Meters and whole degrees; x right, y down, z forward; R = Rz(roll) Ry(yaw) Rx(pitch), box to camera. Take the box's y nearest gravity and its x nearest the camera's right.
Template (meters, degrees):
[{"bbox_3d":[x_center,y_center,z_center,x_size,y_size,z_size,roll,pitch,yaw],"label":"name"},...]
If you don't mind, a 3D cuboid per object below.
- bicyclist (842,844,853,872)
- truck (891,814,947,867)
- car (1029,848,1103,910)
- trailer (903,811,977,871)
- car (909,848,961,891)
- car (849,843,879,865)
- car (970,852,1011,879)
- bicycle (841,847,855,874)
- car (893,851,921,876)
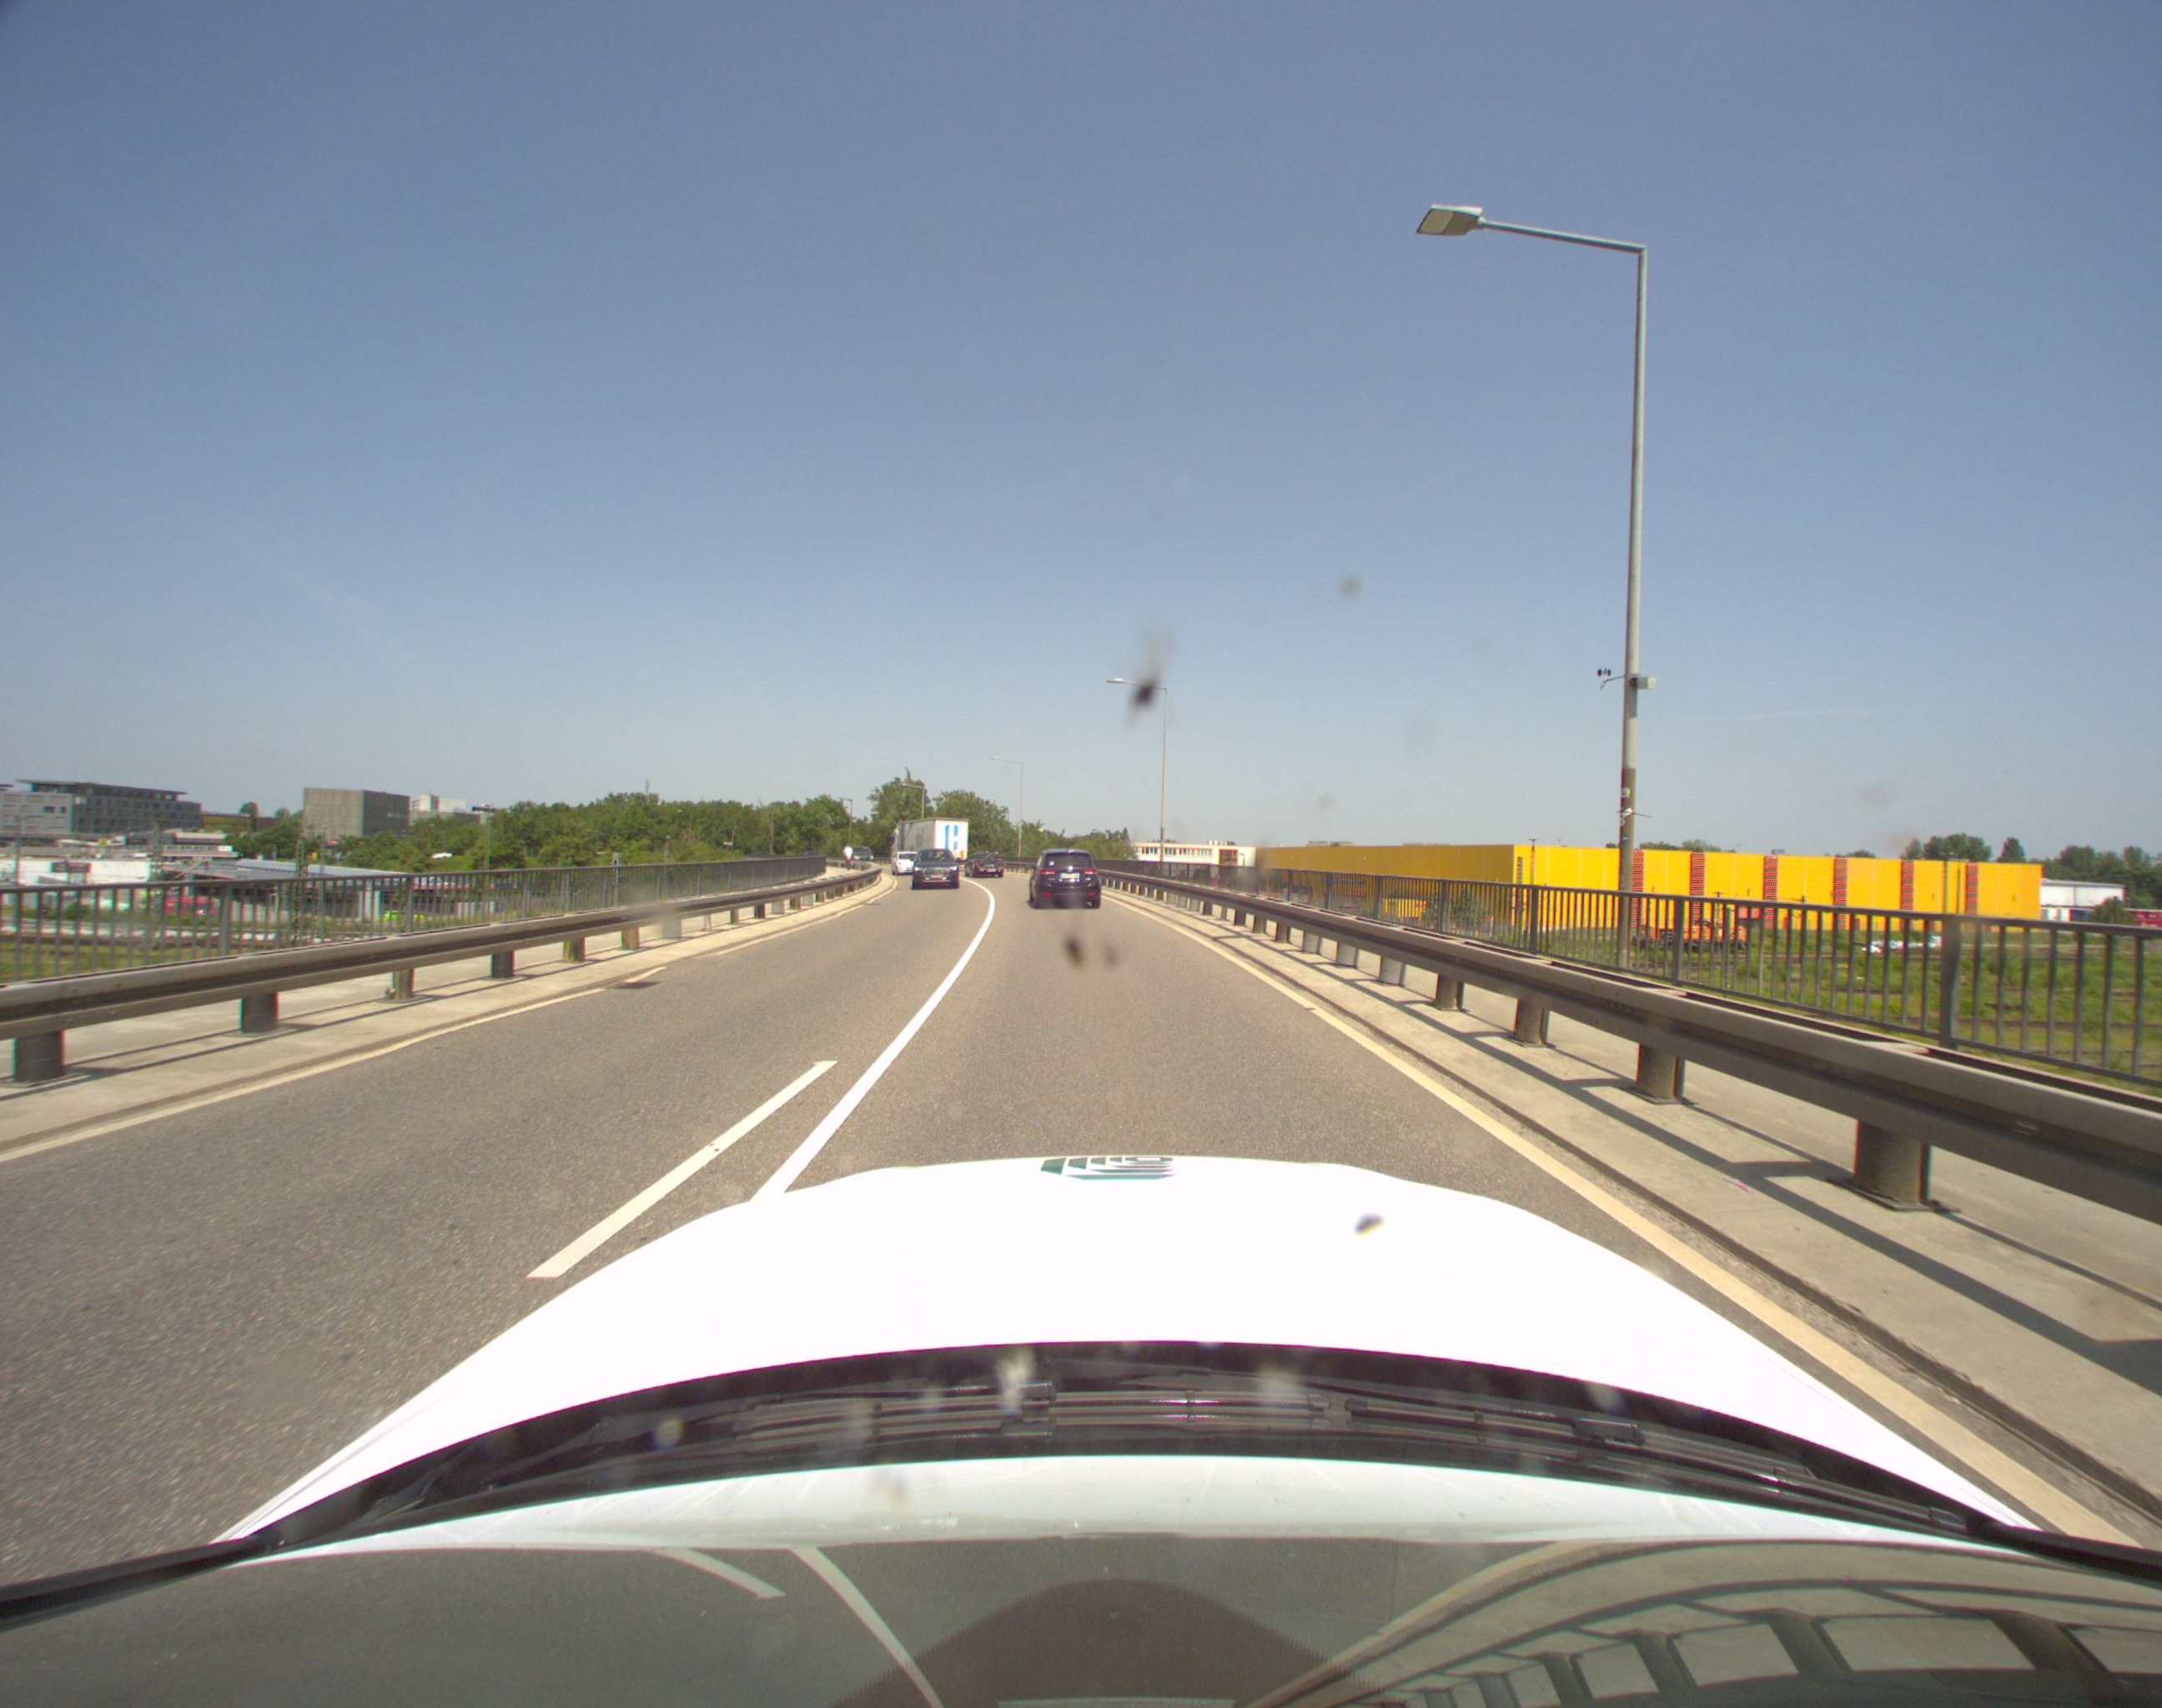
[{"bbox_3d":[-15.974,0.257,55.652,0.626,1.886,0.707,0,0,-22],"label":"bicyclist"},{"bbox_3d":[-14.592,-1.206,72.875,3.589,4.440,6.464,0,1,-24],"label":"truck"},{"bbox_3d":[-0.508,0.637,23.036,1.917,1.574,3.886,0,1,-4],"label":"car"},{"bbox_3d":[-11.575,-1.029,65.720,3.584,4.383,11.356,0,1,-22],"label":"trailer"},{"bbox_3d":[-6.142,0.591,33.958,1.844,1.636,4.213,-1,1,-14],"label":"car"},{"bbox_3d":[-20.136,0.005,75.334,2.015,1.959,5.232,0,0,-22],"label":"car"},{"bbox_3d":[-5.165,0.616,46.196,2.012,1.429,3.763,0,1,-11],"label":"car"},{"bbox_3d":[-15.987,0.432,55.823,0.701,1.801,2.165,0,1,-21],"label":"bicycle"},{"bbox_3d":[-10.971,0.568,51.334,1.666,1.464,3.471,0,1,-13],"label":"car"}]
